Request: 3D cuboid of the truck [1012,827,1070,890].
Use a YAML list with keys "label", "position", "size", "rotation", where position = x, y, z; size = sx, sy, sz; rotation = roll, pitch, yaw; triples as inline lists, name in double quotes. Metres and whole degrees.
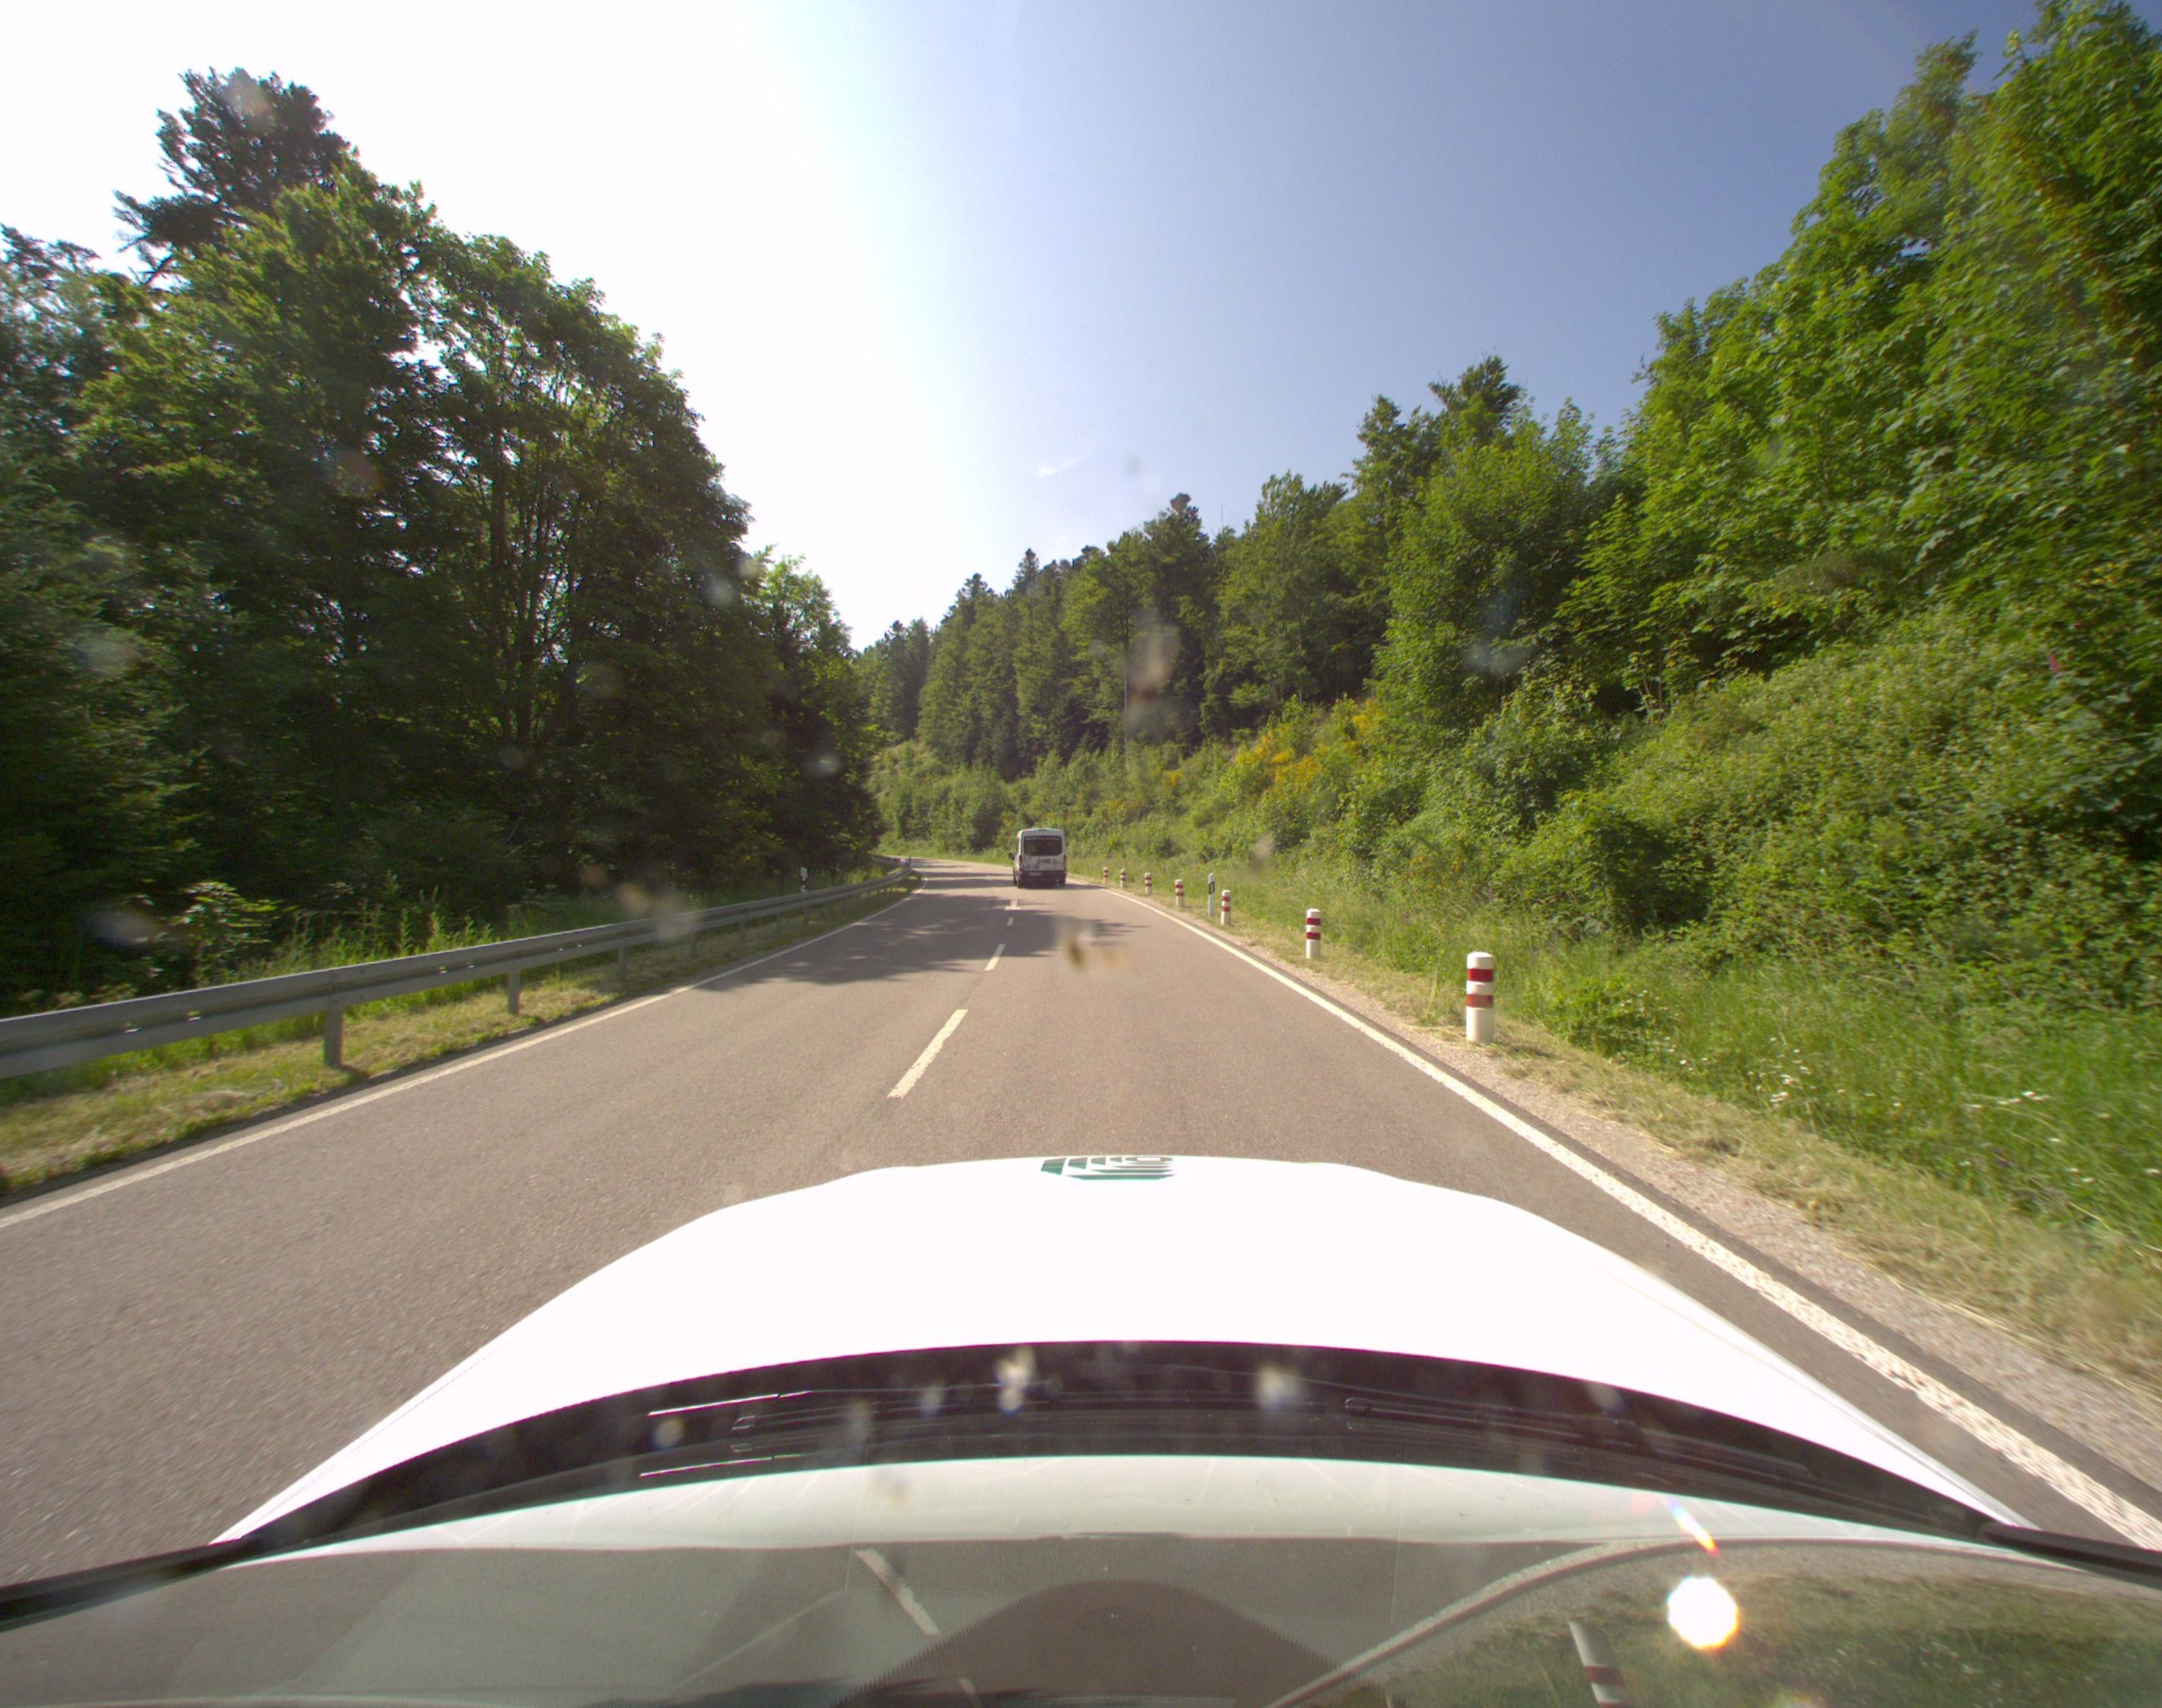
- label: "truck"
  position: [-1.827, 0.157, 35.612]
  size: [2.114, 2.498, 5.346]
  rotation: [-1, 0, -7]
